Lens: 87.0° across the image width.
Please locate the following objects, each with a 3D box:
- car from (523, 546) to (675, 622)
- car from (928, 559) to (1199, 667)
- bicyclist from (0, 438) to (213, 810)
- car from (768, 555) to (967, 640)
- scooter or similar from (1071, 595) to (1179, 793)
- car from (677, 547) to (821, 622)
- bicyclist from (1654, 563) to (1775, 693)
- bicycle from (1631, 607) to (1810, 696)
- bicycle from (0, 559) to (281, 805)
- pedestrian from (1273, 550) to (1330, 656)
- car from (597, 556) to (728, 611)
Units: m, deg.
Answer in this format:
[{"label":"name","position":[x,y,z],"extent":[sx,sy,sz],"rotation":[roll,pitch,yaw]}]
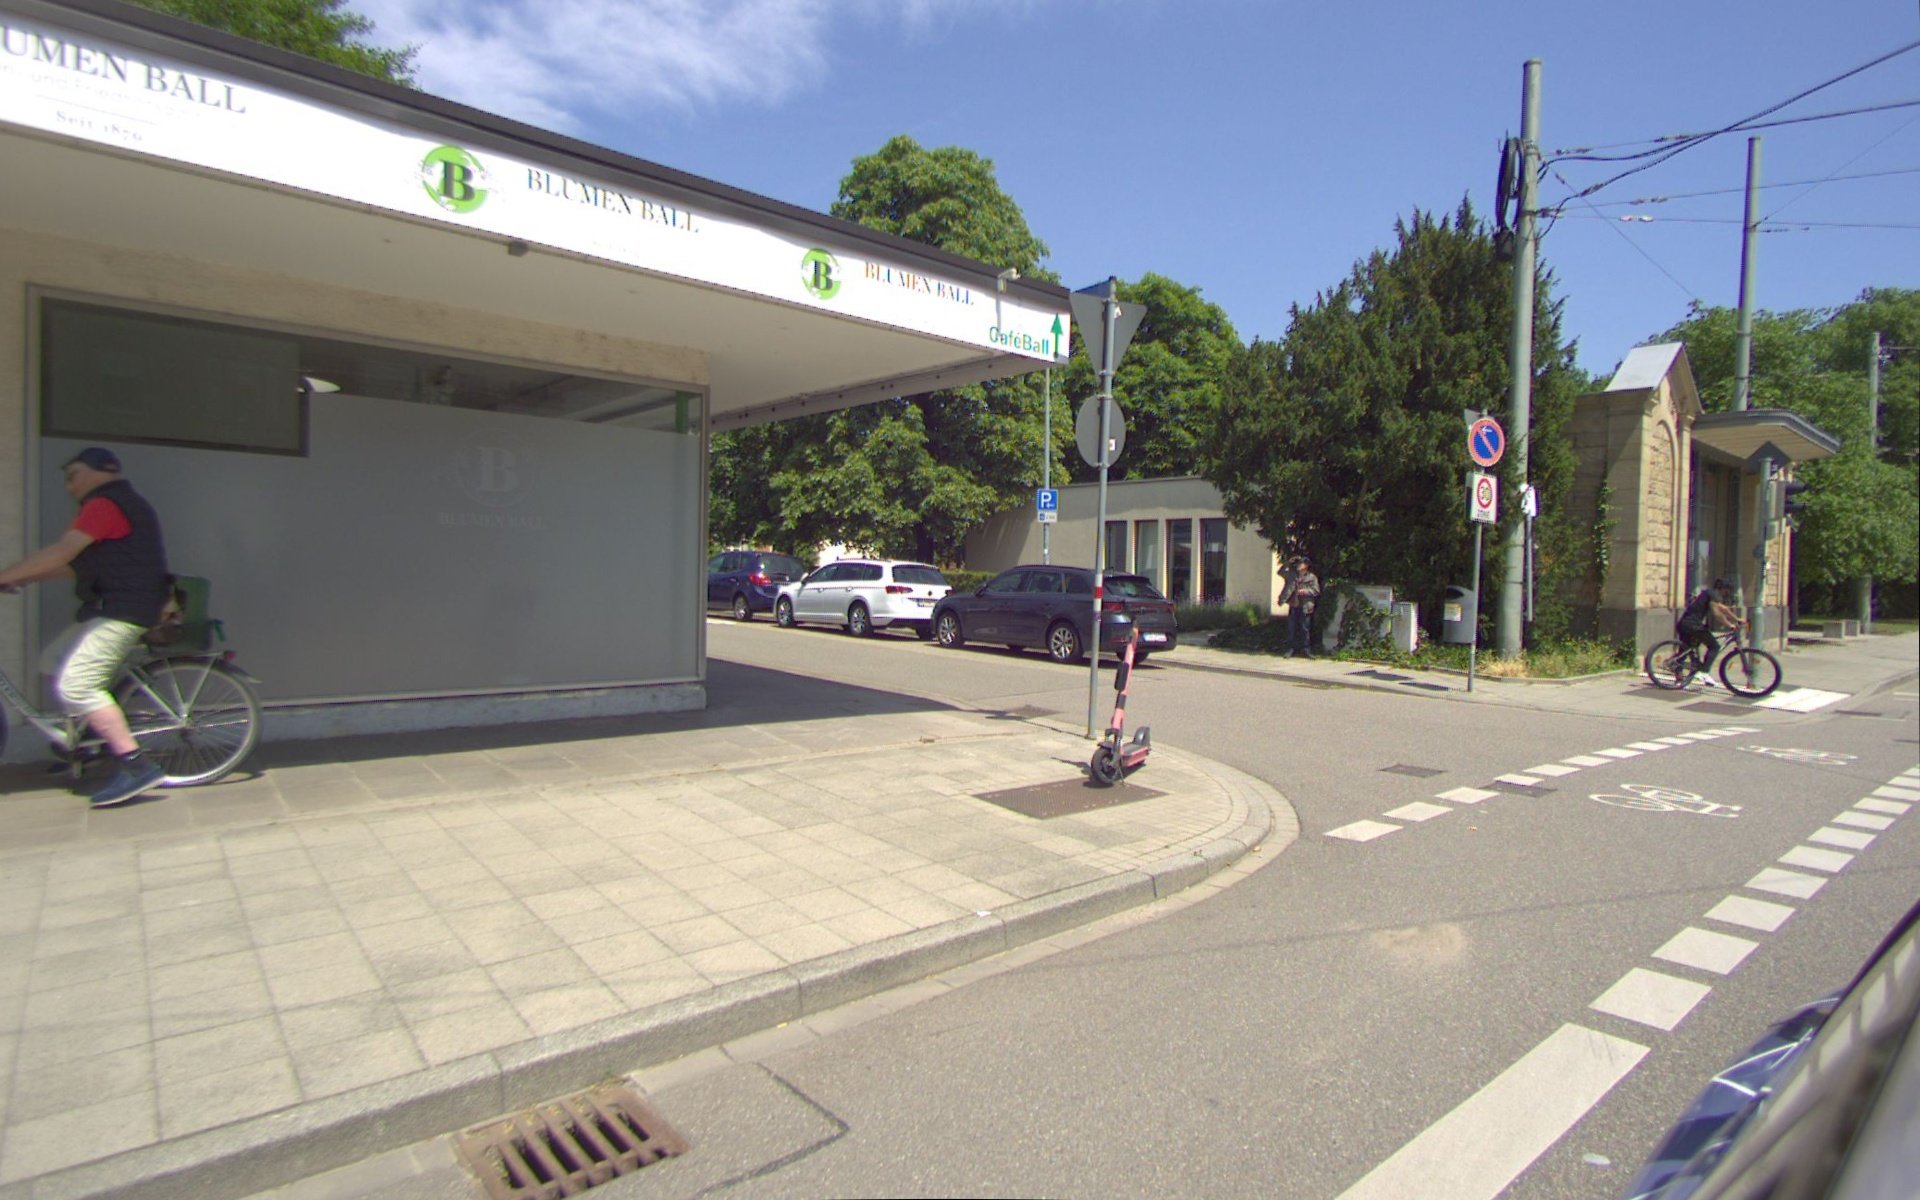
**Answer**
[{"label":"car","position":[-8.184,-0.414,22.767],"extent":[1.965,1.549,3.995],"rotation":[-1,3,-40]},{"label":"car","position":[1.490,0.142,15.976],"extent":[1.680,1.449,4.235],"rotation":[3,0,-40]},{"label":"bicyclist","position":[-4.542,0.104,5.306],"extent":[0.905,1.782,0.731],"rotation":[0,2,-28]},{"label":"car","position":[-1.923,-0.101,19.929],"extent":[1.680,1.449,4.336],"rotation":[3,0,-40]},{"label":"scooter or similar","position":[1.172,0.581,7.012],"extent":[0.337,1.192,1.455],"rotation":[1,2,25]},{"label":"car","position":[-5.007,-0.388,23.743],"extent":[1.680,1.582,3.699],"rotation":[3,0,-40]},{"label":"bicyclist","position":[10.349,0.362,13.916],"extent":[0.844,1.637,0.836],"rotation":[4,4,0]},{"label":"bicycle","position":[10.431,0.693,13.925],"extent":[1.828,1.014,0.671],"rotation":[4,4,0]},{"label":"bicycle","position":[-4.662,0.401,5.247],"extent":[1.867,1.212,0.377],"rotation":[0,2,-30]},{"label":"pedestrian","position":[5.341,0.036,15.824],"extent":[0.618,1.611,0.603],"rotation":[-1,2,-40]},{"label":"car","position":[-8.183,-0.493,27.612],"extent":[1.819,1.371,4.287],"rotation":[-1,3,-41]}]
